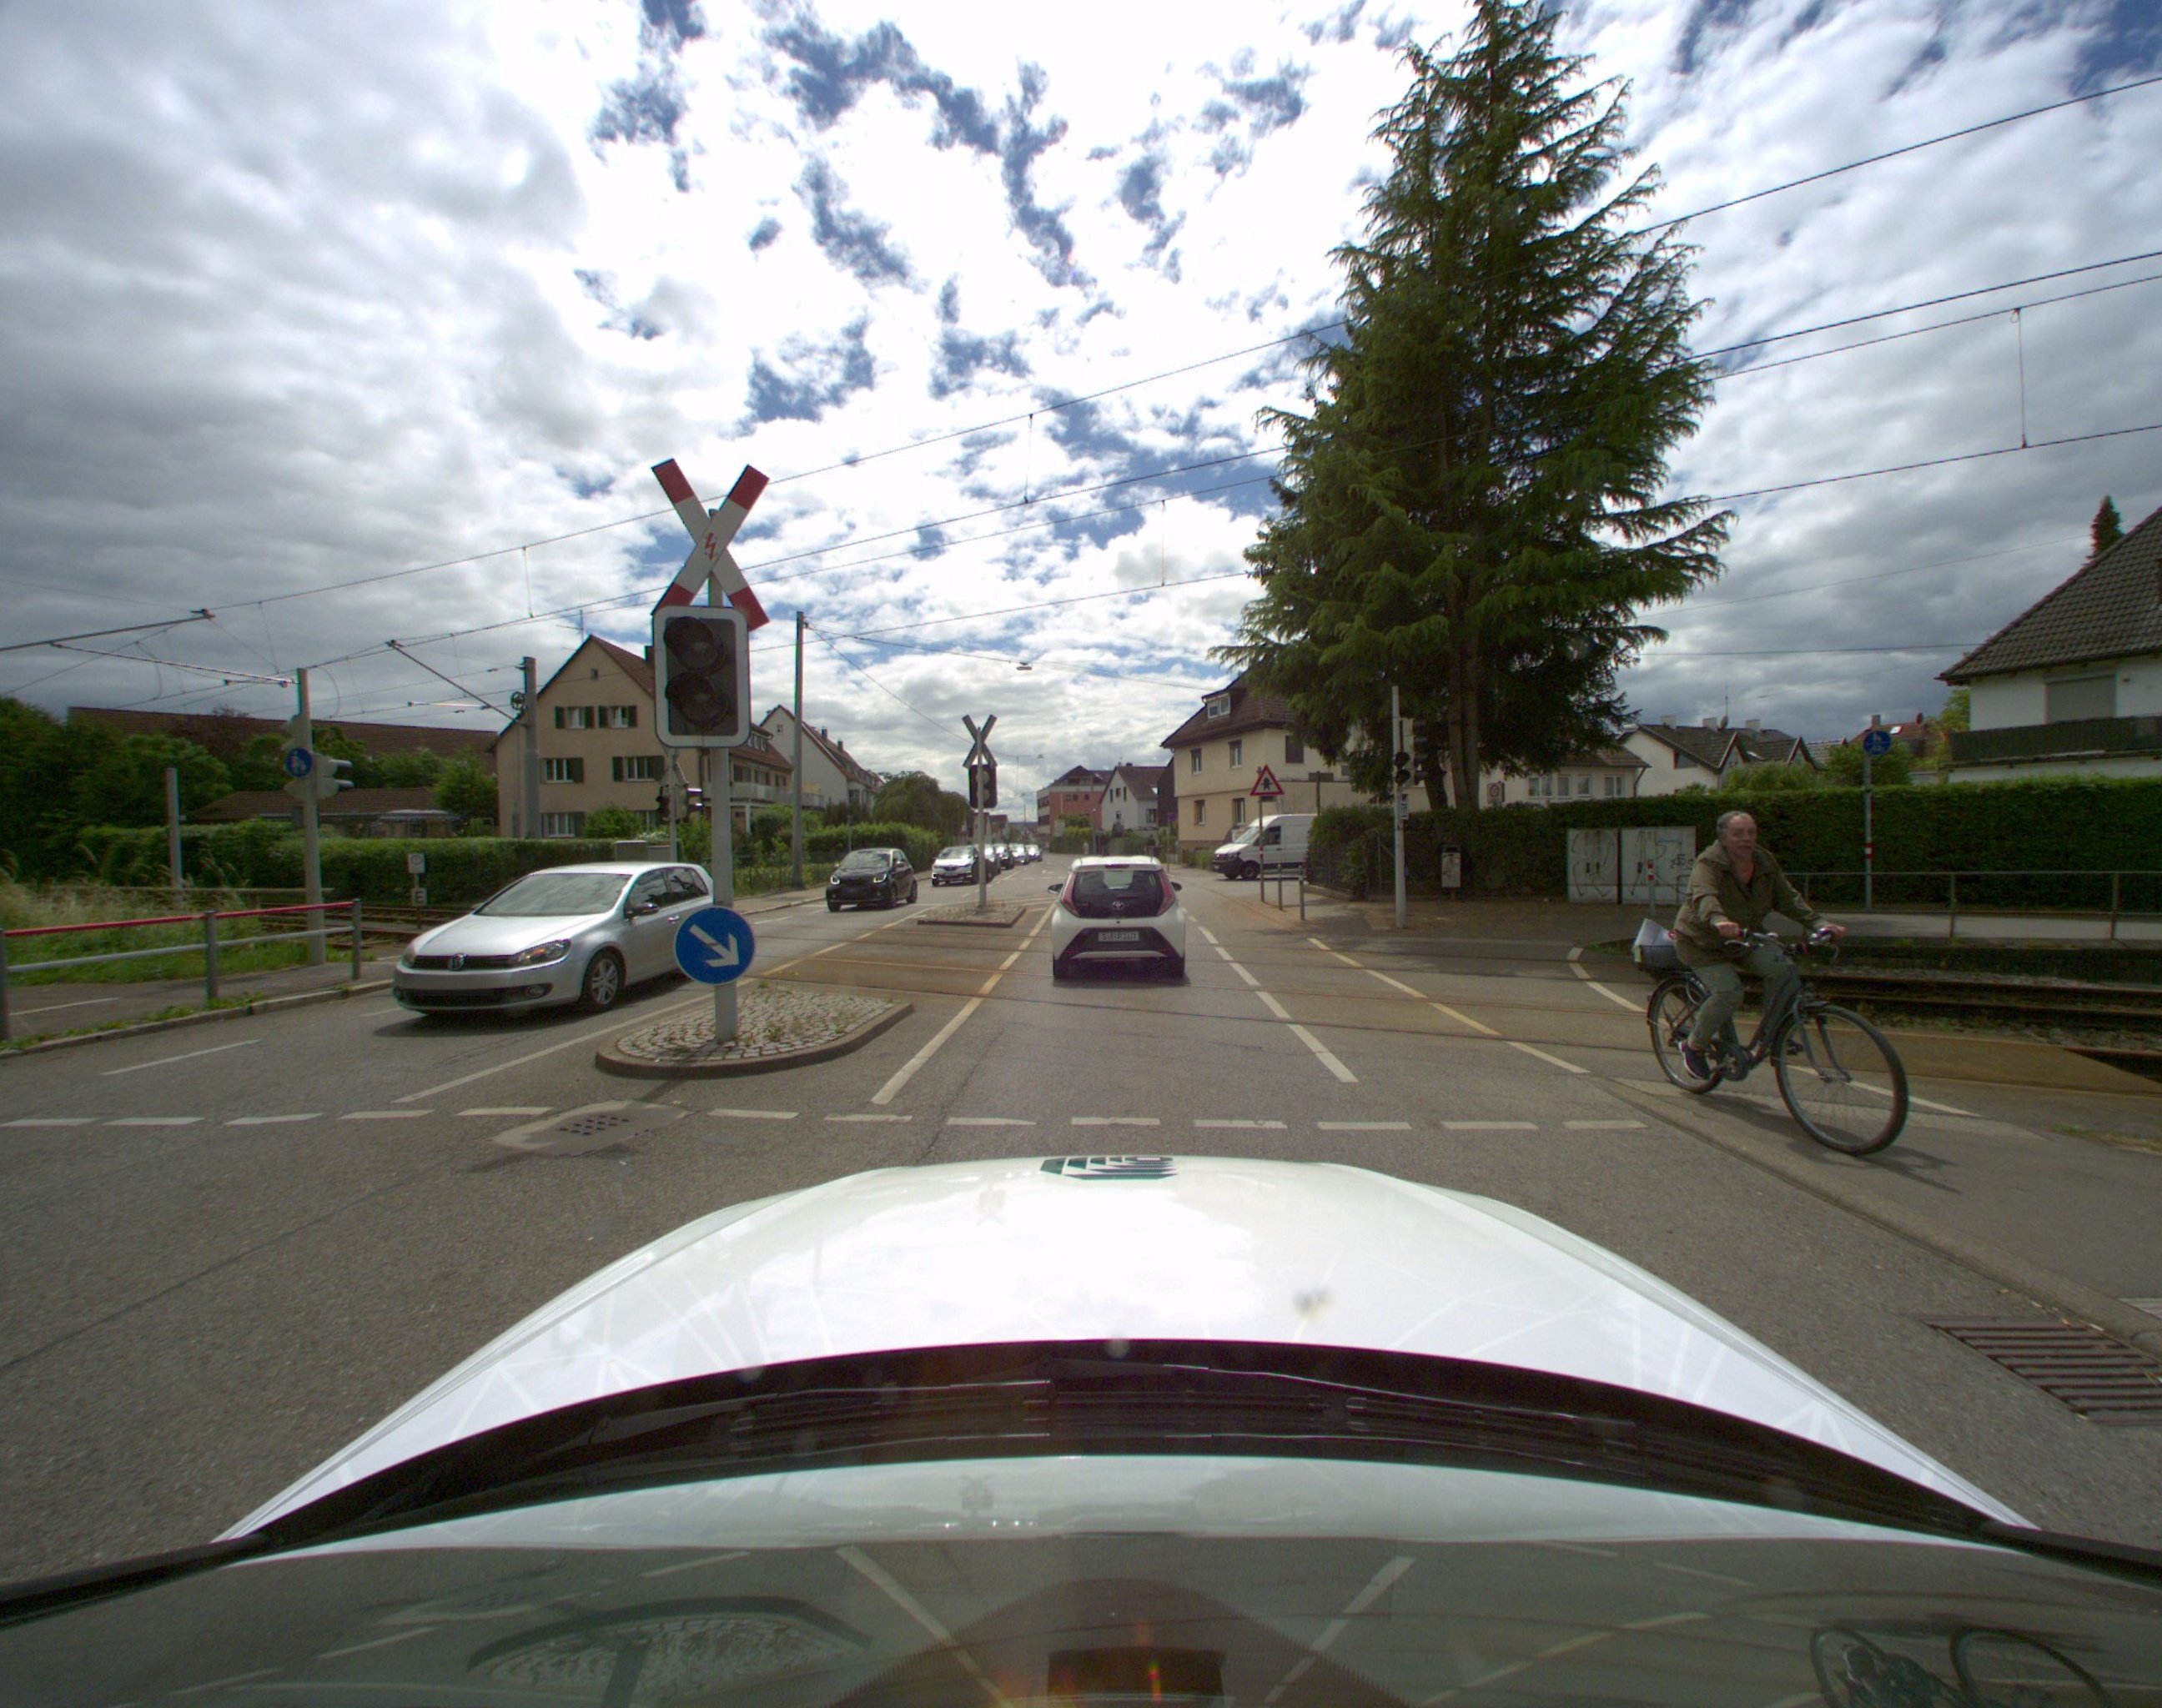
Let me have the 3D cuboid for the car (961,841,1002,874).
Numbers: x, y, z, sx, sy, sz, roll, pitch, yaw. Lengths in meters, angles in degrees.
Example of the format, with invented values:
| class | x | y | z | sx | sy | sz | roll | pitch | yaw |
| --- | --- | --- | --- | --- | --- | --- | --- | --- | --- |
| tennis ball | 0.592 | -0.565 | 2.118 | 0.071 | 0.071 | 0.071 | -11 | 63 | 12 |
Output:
| class | x | y | z | sx | sy | sz | roll | pitch | yaw |
| --- | --- | --- | --- | --- | --- | --- | --- | --- | --- |
| car | -5.141 | 0.161 | 42.481 | 1.770 | 1.603 | 4.035 | -1 | 1 | -2 |

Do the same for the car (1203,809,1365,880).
| class | x | y | z | sx | sy | sz | roll | pitch | yaw |
| --- | --- | --- | --- | --- | --- | --- | --- | --- | --- |
| car | 8.038 | -0.429 | 32.246 | 6.005 | 2.581 | 1.991 | -2 | 1 | -15 |

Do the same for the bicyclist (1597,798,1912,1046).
| class | x | y | z | sx | sy | sz | roll | pitch | yaw |
| --- | --- | --- | --- | --- | --- | --- | --- | --- | --- |
| bicyclist | 3.758 | 0.347 | 4.683 | 0.927 | 1.247 | 1.103 | 0 | -1 | 4 |

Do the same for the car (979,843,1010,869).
| class | x | y | z | sx | sy | sz | roll | pitch | yaw |
| --- | --- | --- | --- | --- | --- | --- | --- | --- | --- |
| car | -5.504 | 0.103 | 52.235 | 1.771 | 1.603 | 4.163 | -1 | 1 | -4 |

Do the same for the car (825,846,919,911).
| class | x | y | z | sx | sy | sz | roll | pitch | yaw |
| --- | --- | --- | --- | --- | --- | --- | --- | --- | --- |
| car | -5.354 | 0.587 | 21.166 | 1.569 | 1.510 | 2.790 | -1 | 1 | 2 |

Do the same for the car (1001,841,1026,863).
| class | x | y | z | sx | sy | sz | roll | pitch | yaw |
| --- | --- | --- | --- | --- | --- | --- | --- | --- | --- |
| car | -5.097 | -0.141 | 61.849 | 1.771 | 1.561 | 4.163 | -1 | 1 | -4 |

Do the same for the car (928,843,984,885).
| class | x | y | z | sx | sy | sz | roll | pitch | yaw |
| --- | --- | --- | --- | --- | --- | --- | --- | --- | --- |
| car | -5.101 | 0.360 | 33.650 | 1.770 | 1.603 | 4.035 | -1 | 1 | -2 |

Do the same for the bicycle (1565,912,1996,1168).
| class | x | y | z | sx | sy | sz | roll | pitch | yaw |
| --- | --- | --- | --- | --- | --- | --- | --- | --- | --- |
| bicycle | 3.757 | 0.914 | 4.679 | 0.927 | 1.040 | 1.917 | 0 | -1 | 4 |

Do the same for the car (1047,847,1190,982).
| class | x | y | z | sx | sy | sz | roll | pitch | yaw |
| --- | --- | --- | --- | --- | --- | --- | --- | --- | --- |
| car | 0.512 | 0.678 | 11.378 | 1.614 | 1.486 | 4.003 | -1 | 1 | 2 |

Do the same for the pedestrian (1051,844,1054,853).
| class | x | y | z | sx | sy | sz | roll | pitch | yaw |
| --- | --- | --- | --- | --- | --- | --- | --- | --- | --- |
| pedestrian | -4.313 | -0.837 | 121.604 | 0.413 | 1.437 | 0.436 | -1 | 1 | -8 |

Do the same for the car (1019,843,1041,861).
| class | x | y | z | sx | sy | sz | roll | pitch | yaw |
| --- | --- | --- | --- | --- | --- | --- | --- | --- | --- |
| car | -4.440 | -0.172 | 70.383 | 1.772 | 1.430 | 4.514 | -1 | 1 | -5 |

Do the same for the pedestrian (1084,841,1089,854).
| class | x | y | z | sx | sy | sz | roll | pitch | yaw |
| --- | --- | --- | --- | --- | --- | --- | --- | --- | --- |
| pedestrian | 0.652 | -0.737 | 93.150 | 0.409 | 1.437 | 0.440 | 0 | 1 | 26 |

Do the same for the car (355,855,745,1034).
| class | x | y | z | sx | sy | sz | roll | pitch | yaw |
| --- | --- | --- | --- | --- | --- | --- | --- | --- | --- |
| car | -5.528 | 0.804 | 9.230 | 1.682 | 1.458 | 4.069 | -1 | 1 | 0 |
